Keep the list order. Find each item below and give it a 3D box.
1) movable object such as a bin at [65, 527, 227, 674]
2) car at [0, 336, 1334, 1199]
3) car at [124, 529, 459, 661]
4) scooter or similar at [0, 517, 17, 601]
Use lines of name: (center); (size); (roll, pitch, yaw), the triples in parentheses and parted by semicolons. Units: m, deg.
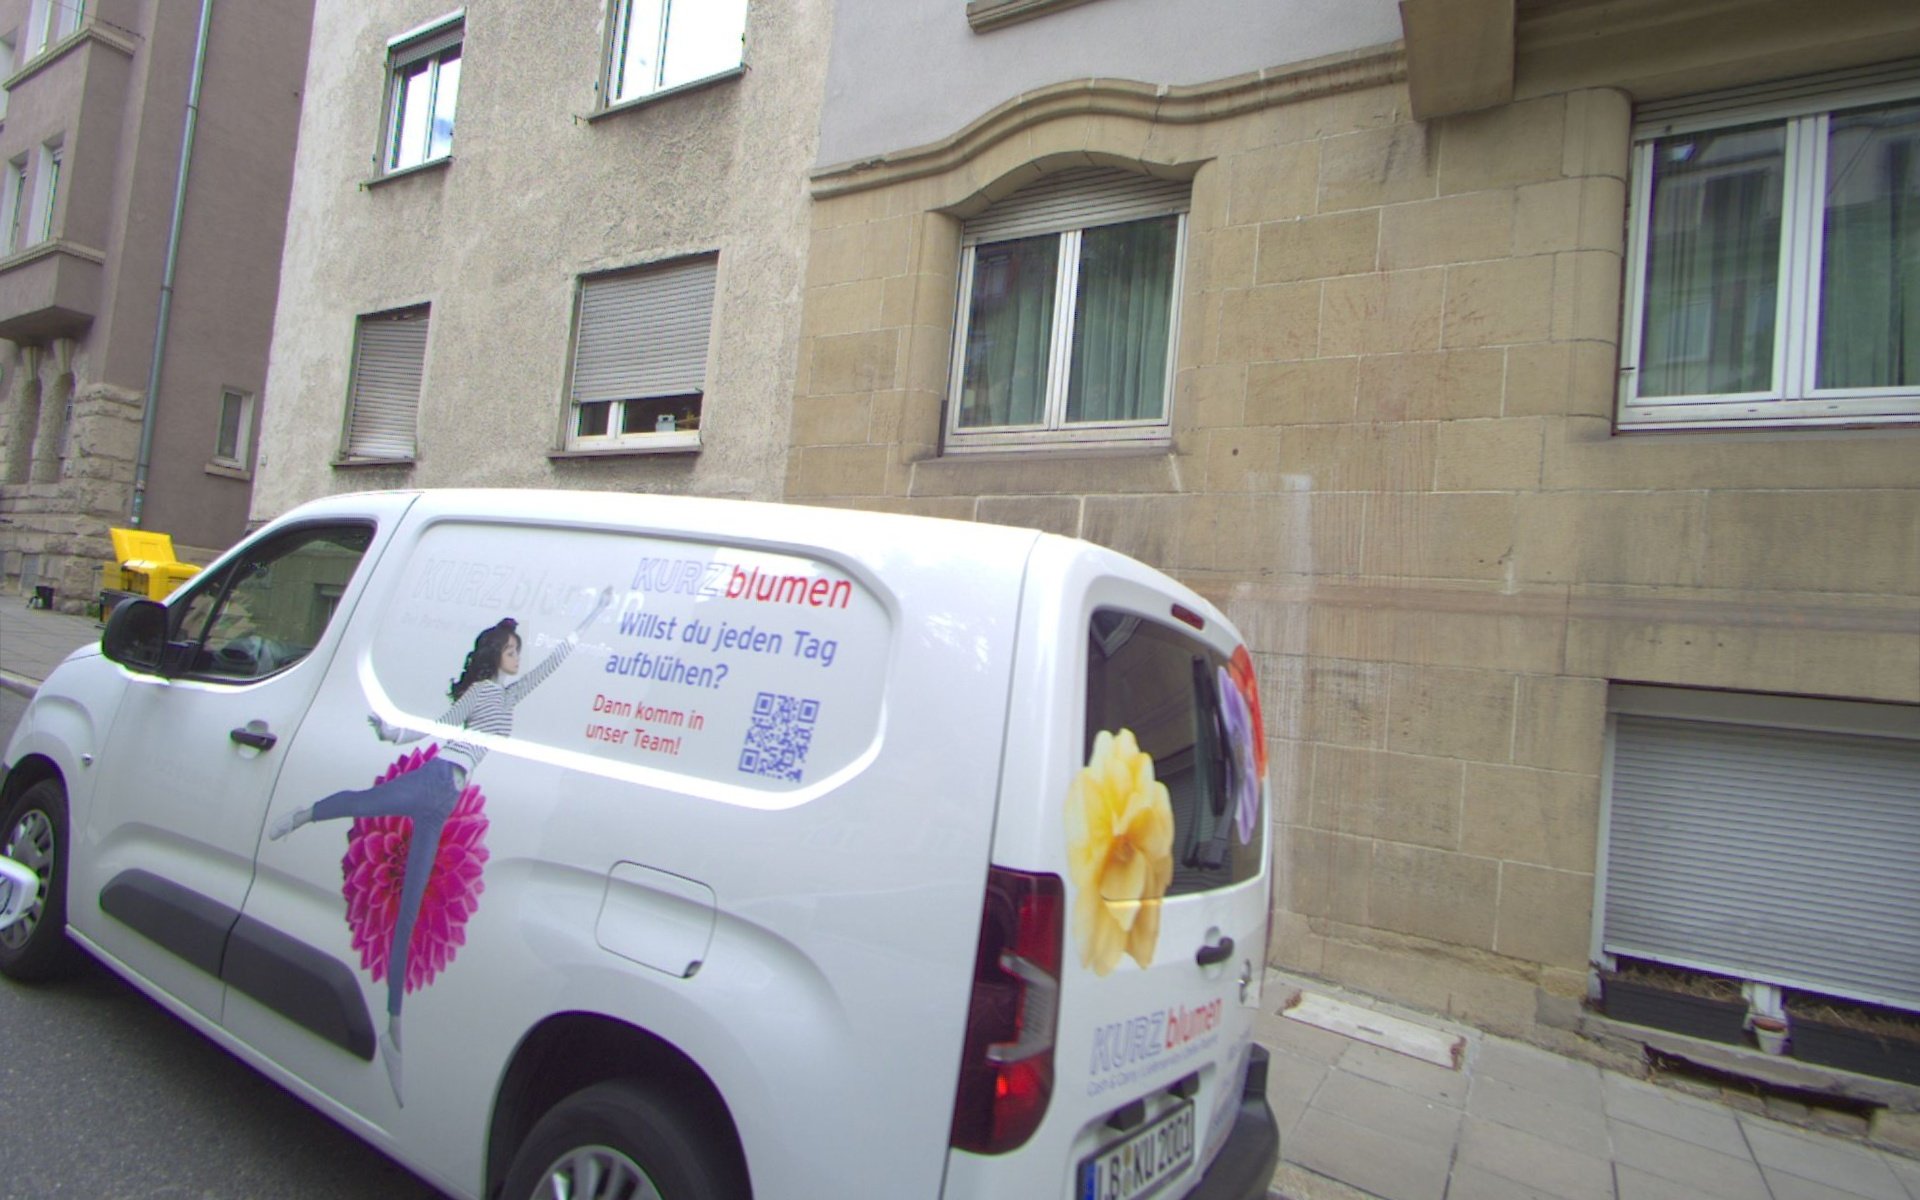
movable object such as a bin: (-9.113, 0.001, 11.252); (1.664, 1.437, 0.721); (6, -1, 29)
car: (-1.589, 0.532, 3.446); (4.943, 1.844, 1.853); (5, -4, 35)
car: (-10.532, 0.007, 16.158); (1.770, 1.419, 3.997); (10, -1, 31)
scooter or similar: (-15.017, -0.679, 15.469); (1.333, 1.202, 0.401); (9, 1, 35)
